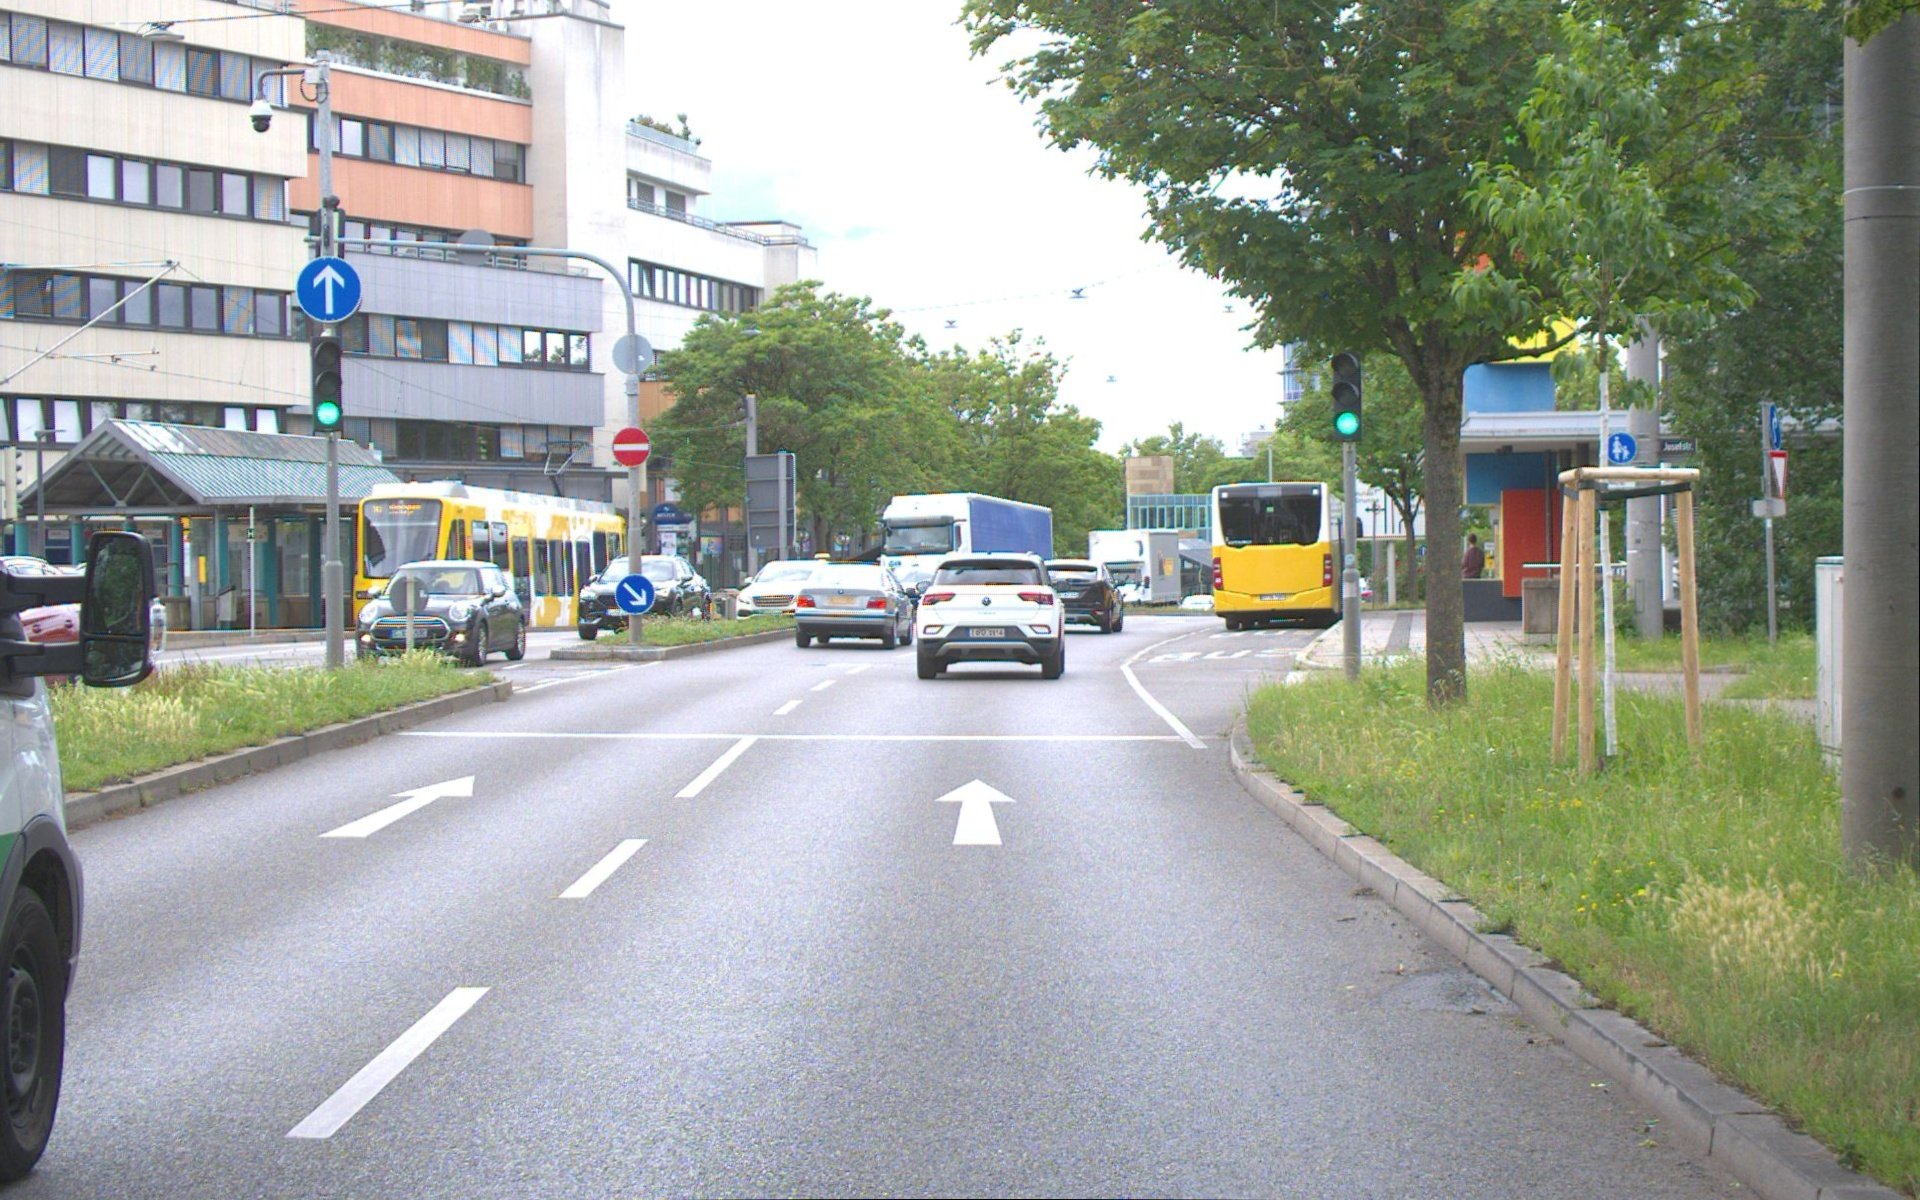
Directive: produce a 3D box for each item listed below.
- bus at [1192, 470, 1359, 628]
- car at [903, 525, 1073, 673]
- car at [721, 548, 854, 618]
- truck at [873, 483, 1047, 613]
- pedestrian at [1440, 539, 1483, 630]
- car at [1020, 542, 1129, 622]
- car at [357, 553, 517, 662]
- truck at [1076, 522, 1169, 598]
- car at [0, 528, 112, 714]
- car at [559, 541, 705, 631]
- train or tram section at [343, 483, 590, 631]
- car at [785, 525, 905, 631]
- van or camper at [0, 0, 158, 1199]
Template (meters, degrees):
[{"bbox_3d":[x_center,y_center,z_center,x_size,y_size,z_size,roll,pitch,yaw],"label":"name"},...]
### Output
[{"bbox_3d":[7.156,-1.134,76.704,2.955,3.179,9.925,-2,1,9],"label":"bus"},{"bbox_3d":[0.398,-0.057,43.310,1.700,1.543,3.736,3,4,6],"label":"car"},{"bbox_3d":[-3.802,-0.397,76.665,1.966,1.493,4.773,0,1,10],"label":"car"},{"bbox_3d":[0.194,-1.754,115.379,2.955,4.066,16.595,0,1,10],"label":"truck"},{"bbox_3d":[9.992,-0.313,68.508,0.709,1.809,0.764,0,1,-1],"label":"pedestrian"},{"bbox_3d":[2.375,-0.389,70.598,1.700,1.510,3.492,0,2,11],"label":"car"},{"bbox_3d":[-7.197,0.098,47.561,1.614,1.441,3.653,-1,0,1],"label":"car"},{"bbox_3d":[6.806,-1.668,142.774,3.084,3.018,9.355,0,1,7],"label":"truck"},{"bbox_3d":[-9.180,0.138,30.672,1.993,1.585,4.834,1,1,0],"label":"car"},{"bbox_3d":[-6.084,-0.249,64.220,1.898,1.612,4.274,-1,0,6],"label":"car"},{"bbox_3d":[-12.134,-1.049,86.118,2.560,3.399,13.078,-1,0,8],"label":"train or tram section"},{"bbox_3d":[-1.873,-0.390,56.887,1.700,1.510,3.737,0,4,3],"label":"car"},{"bbox_3d":[-3.208,0.062,5.972,2.343,2.652,5.966,1,2,-1],"label":"van or camper"}]
